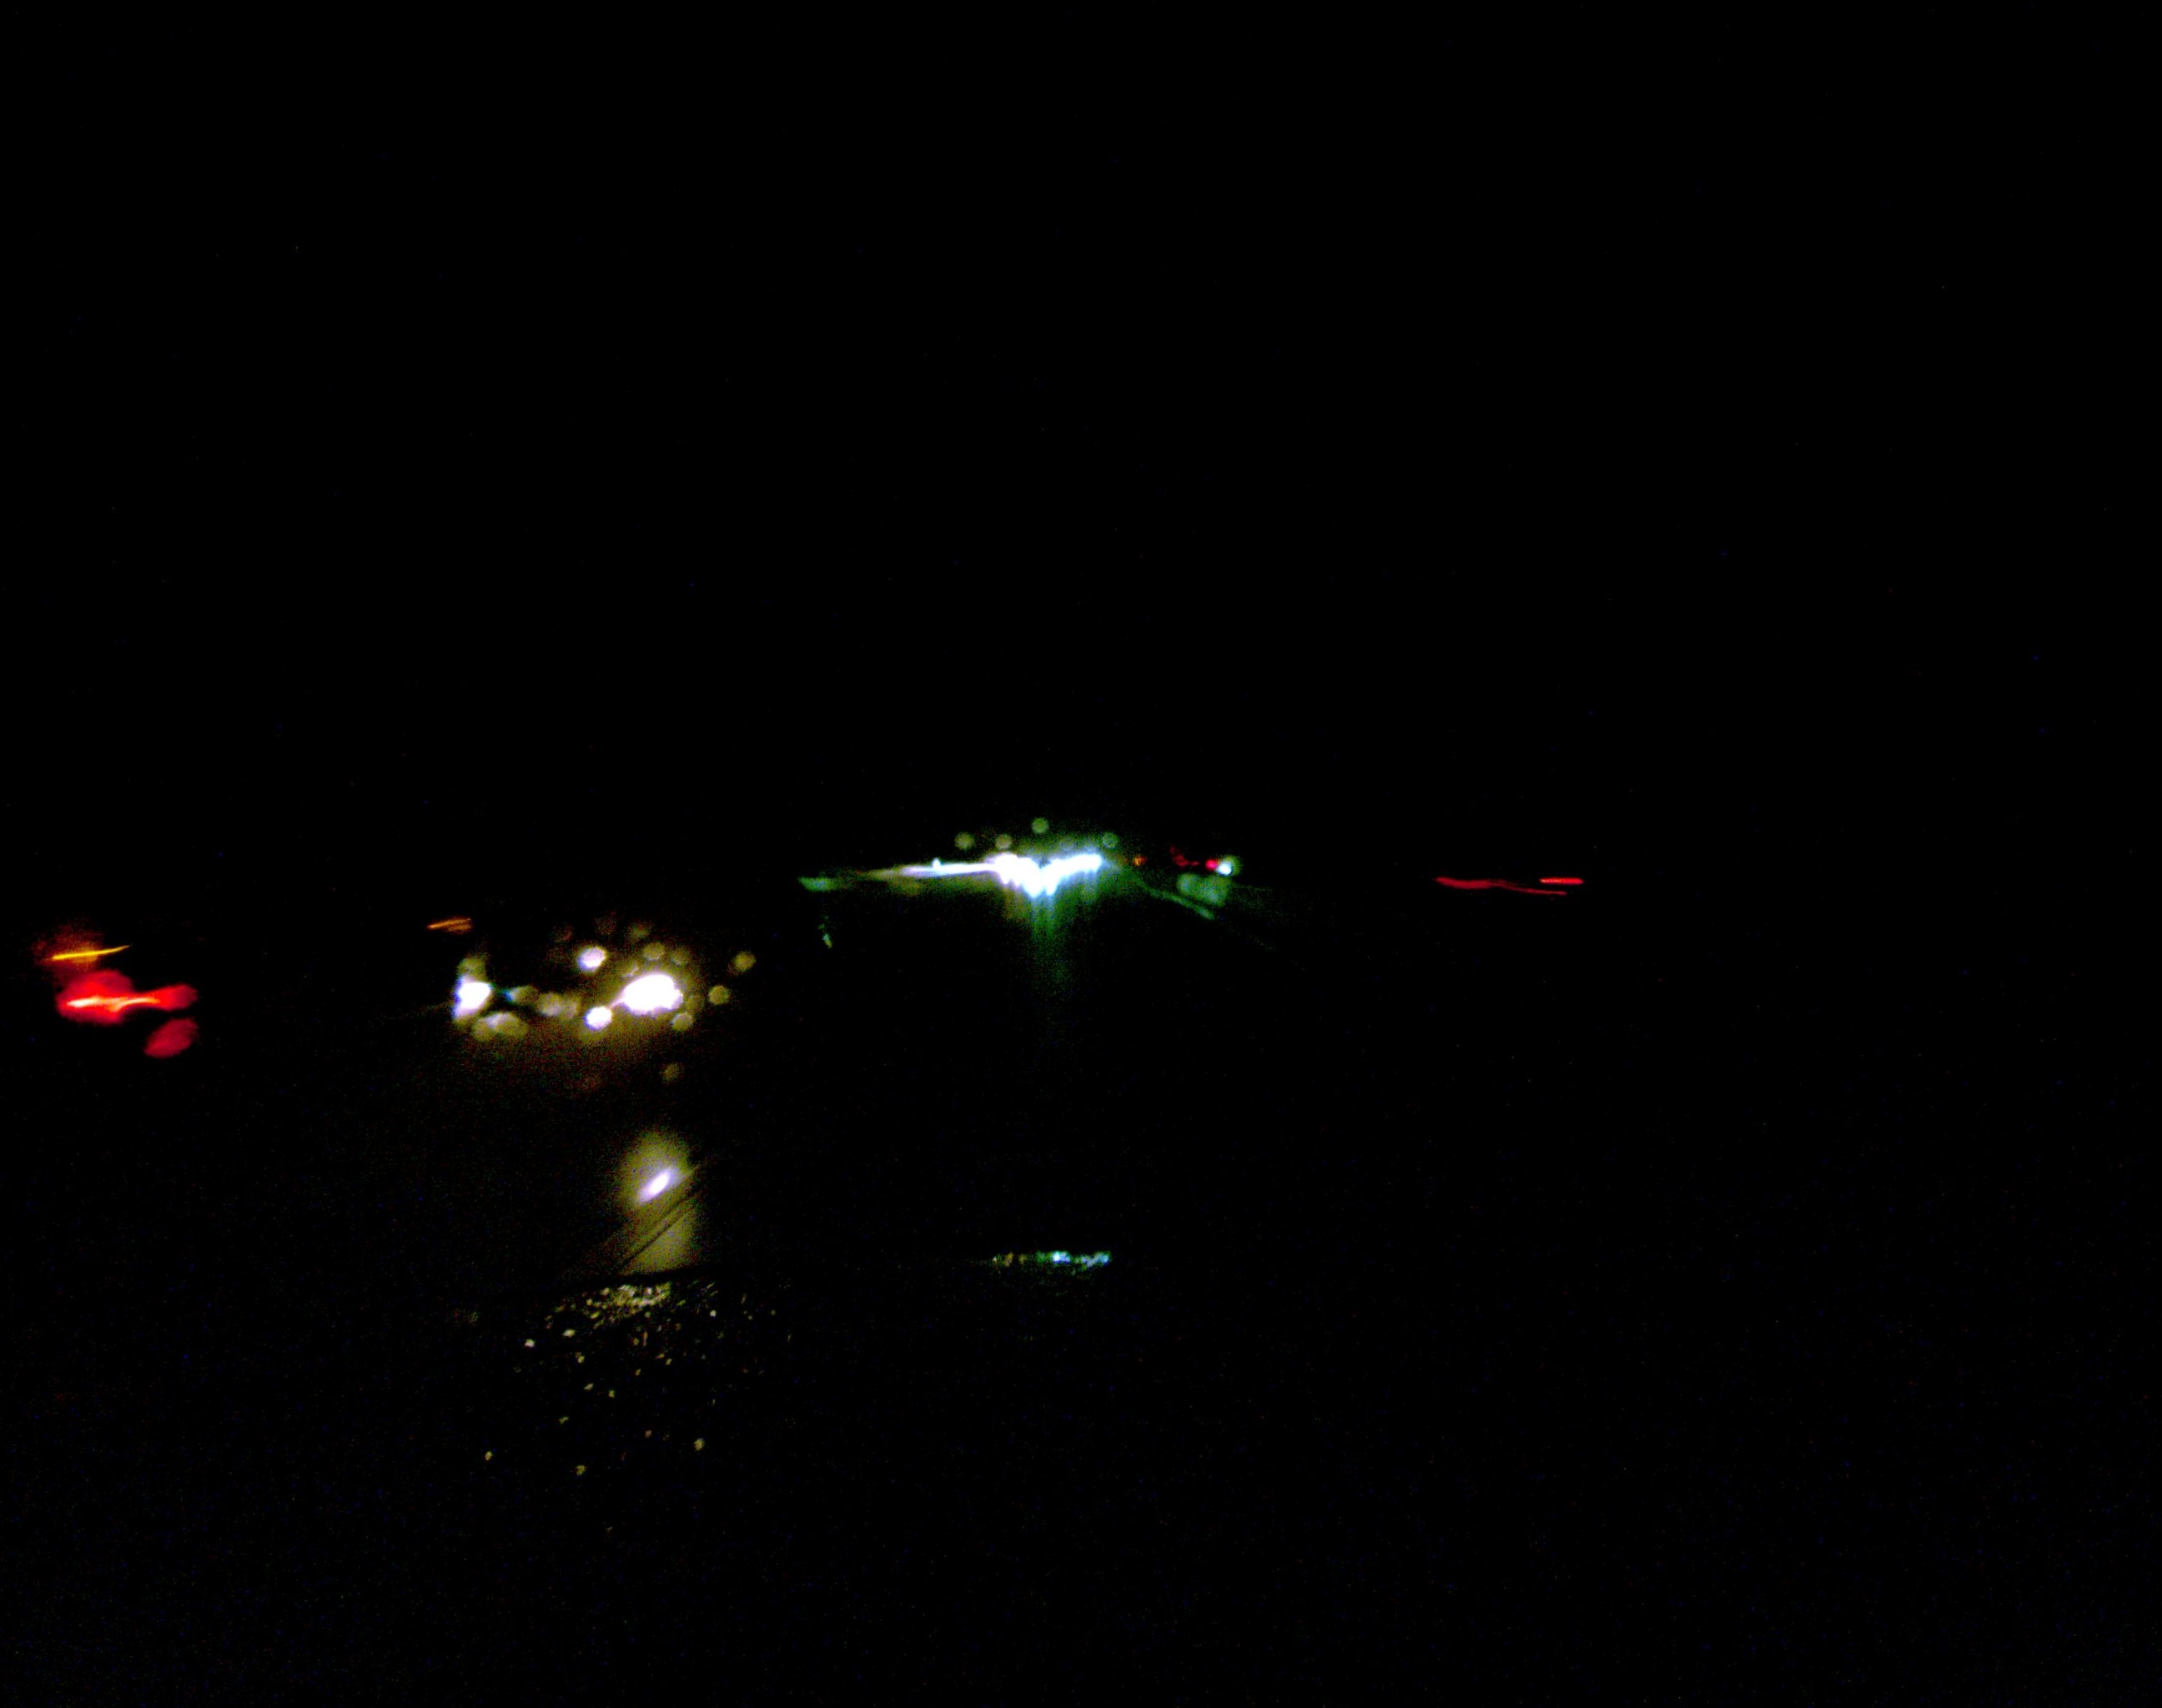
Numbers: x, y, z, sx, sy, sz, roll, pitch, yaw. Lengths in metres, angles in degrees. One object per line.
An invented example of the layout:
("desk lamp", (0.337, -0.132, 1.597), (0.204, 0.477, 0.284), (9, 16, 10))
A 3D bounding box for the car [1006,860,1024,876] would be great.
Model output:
("car", (-6.760, 1.422, 78.135), (1.644, 1.494, 4.013), (-1, 0, -2))

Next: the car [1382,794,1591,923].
("car", (17.431, 0.215, 34.028), (3.714, 4.700, 10.598), (-3, 0, 1))

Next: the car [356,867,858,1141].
("car", (-3.632, 0.985, 7.020), (1.745, 1.566, 4.493), (-2, 1, 0))

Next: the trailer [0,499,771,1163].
("trailer", (-8.088, -0.145, 8.901), (2.910, 4.084, 14.486), (0, 0, 0))

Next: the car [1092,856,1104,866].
("car", (3.103, 1.309, 140.587), (1.883, 1.653, 4.000), (-3, -1, -1))

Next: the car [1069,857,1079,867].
("car", (-1.291, 1.412, 138.928), (1.883, 1.653, 4.000), (-3, -1, -1))

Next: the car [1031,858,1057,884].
("car", (-3.036, 1.356, 62.841), (1.999, 2.001, 3.999), (-3, 0, -3))

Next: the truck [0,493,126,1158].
("truck", (-8.112, -0.169, 2.236), (2.910, 4.084, 6.030), (0, 0, 0))

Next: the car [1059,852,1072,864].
("car", (-2.445, 0.631, 119.644), (1.883, 1.653, 4.000), (-3, -1, -1))

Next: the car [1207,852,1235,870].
("car", (13.715, 0.638, 74.627), (1.998, 1.653, 4.809), (0, 0, 1))

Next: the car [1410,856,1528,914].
("car", (12.772, 0.964, 25.294), (1.921, 1.674, 3.999), (0, 1, 1))

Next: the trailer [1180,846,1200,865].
("trailer", (23.275, 0.410, 162.128), (2.864, 3.877, 8.705), (-1, 0, -1))
